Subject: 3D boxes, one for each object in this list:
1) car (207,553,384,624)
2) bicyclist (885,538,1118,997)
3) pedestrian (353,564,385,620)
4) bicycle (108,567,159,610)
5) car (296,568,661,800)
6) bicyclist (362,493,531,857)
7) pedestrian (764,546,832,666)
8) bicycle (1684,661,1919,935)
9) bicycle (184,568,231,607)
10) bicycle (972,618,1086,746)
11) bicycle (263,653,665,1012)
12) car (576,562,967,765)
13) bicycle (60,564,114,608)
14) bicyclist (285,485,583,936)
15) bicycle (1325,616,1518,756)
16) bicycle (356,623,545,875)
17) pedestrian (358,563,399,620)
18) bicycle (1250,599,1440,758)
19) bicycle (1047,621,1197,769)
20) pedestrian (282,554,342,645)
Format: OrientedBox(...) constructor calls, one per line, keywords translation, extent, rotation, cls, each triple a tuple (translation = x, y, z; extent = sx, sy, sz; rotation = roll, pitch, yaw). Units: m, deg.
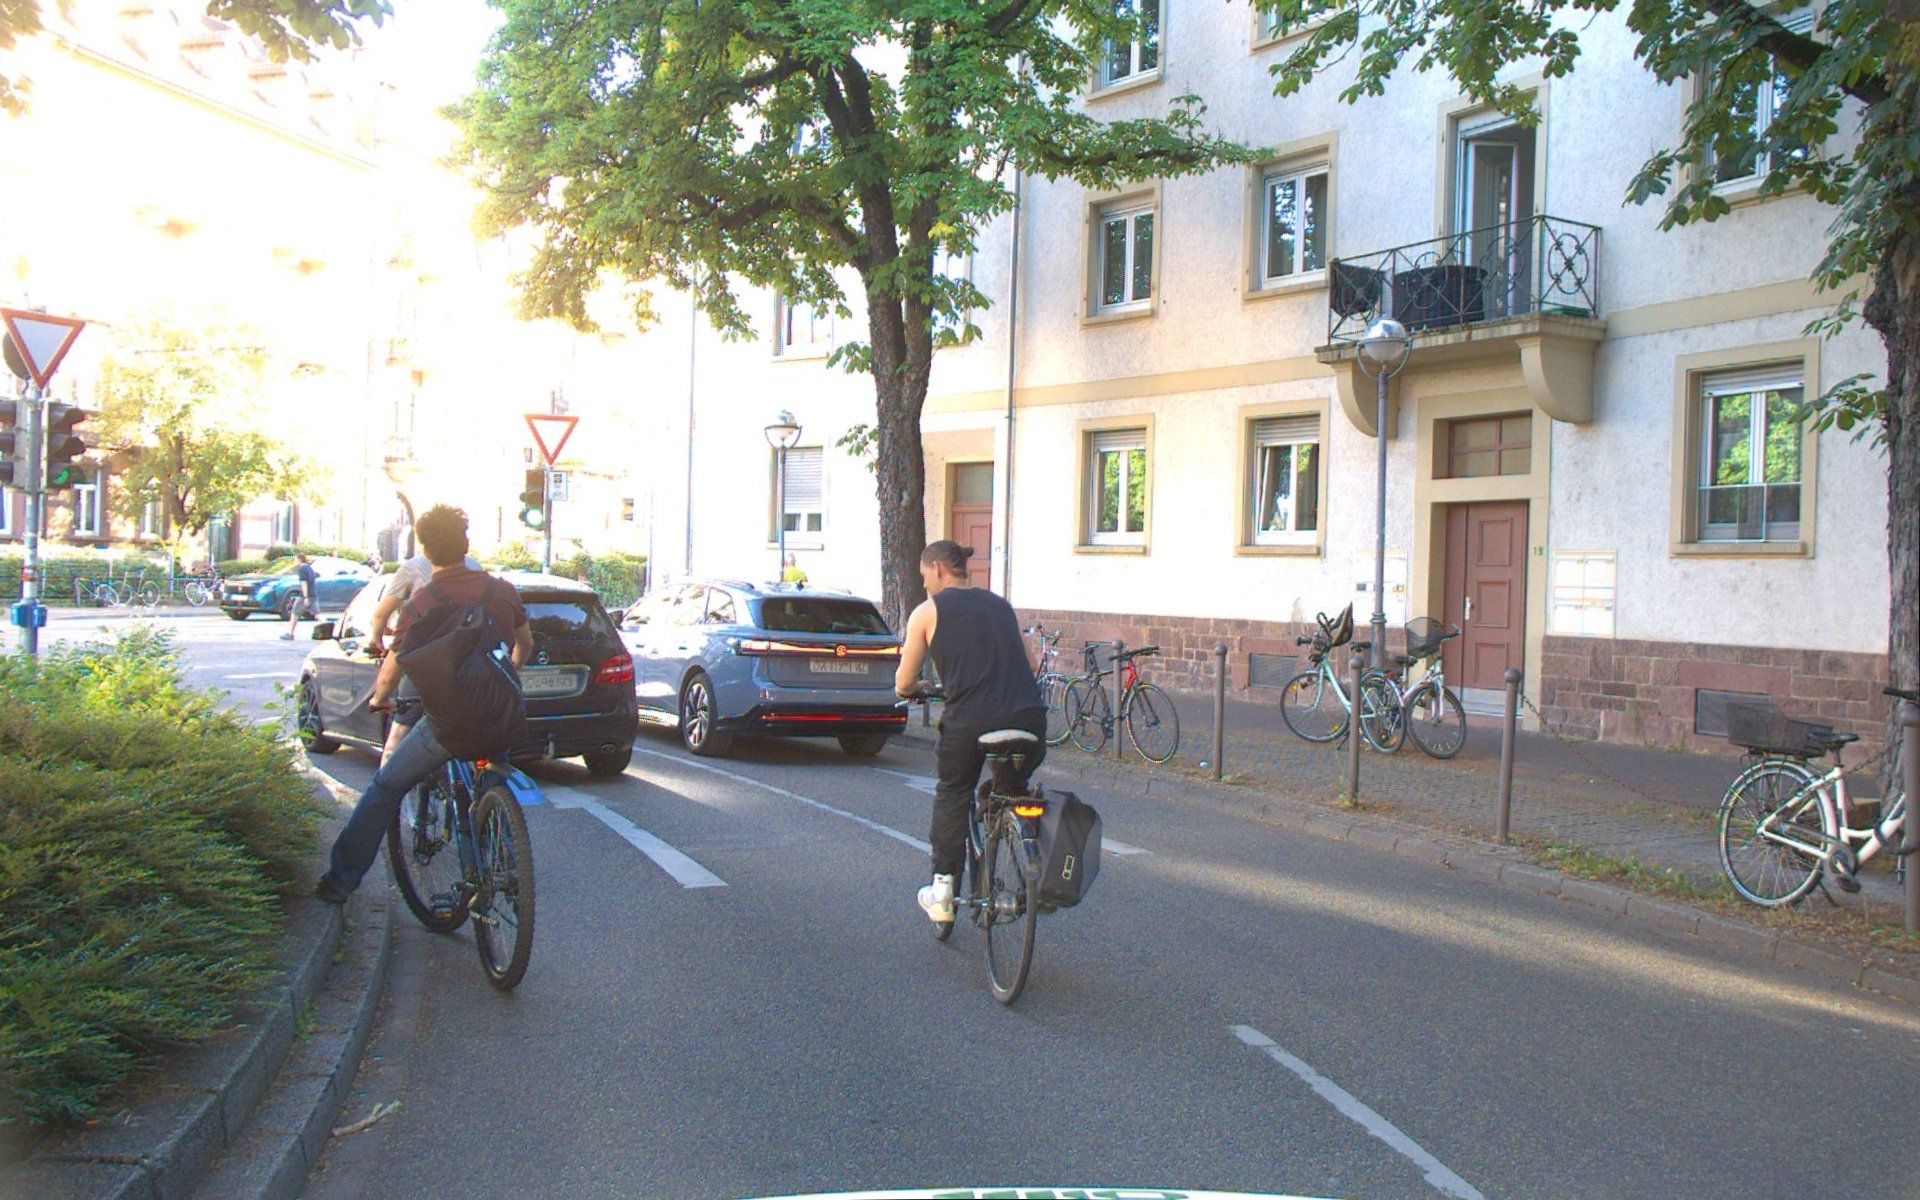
OrientedBox(translation=(-17.109, -0.294, 42.834), extent=(1.901, 1.678, 4.413), rotation=(2, 0, 17), cls="car")
OrientedBox(translation=(0.140, 0.609, 6.640), extent=(0.675, 1.685, 0.985), rotation=(0, 1, -15), cls="bicyclist")
OrientedBox(translation=(-18.575, -0.254, 51.944), extent=(0.649, 1.745, 0.635), rotation=(2, 0, 29), cls="pedestrian")
OrientedBox(translation=(-22.351, -0.318, 44.730), extent=(0.433, 1.126, 1.233), rotation=(3, 1, 22), cls="bicycle")
OrientedBox(translation=(-3.993, 0.529, 13.319), extent=(1.774, 1.569, 3.814), rotation=(-1, 1, -34), cls="car")
OrientedBox(translation=(-2.946, 0.402, 9.447), extent=(0.783, 1.946, 0.938), rotation=(2, 0, -23), cls="bicyclist")
OrientedBox(translation=(-2.441, 0.072, 24.870), extent=(0.639, 1.757, 0.876), rotation=(-2, 2, -39), cls="pedestrian")
OrientedBox(translation=(4.289, 0.896, 7.666), extent=(0.505, 1.114, 1.962), rotation=(0, 1, -20), cls="bicycle")
OrientedBox(translation=(-21.448, -0.353, 47.176), extent=(0.433, 1.056, 1.233), rotation=(3, 1, 21), cls="bicycle")
OrientedBox(translation=(0.647, 0.762, 15.994), extent=(0.474, 1.082, 1.625), rotation=(-1, 2, -22), cls="bicycle")
OrientedBox(translation=(-2.039, 0.827, 6.620), extent=(0.714, 1.126, 1.935), rotation=(2, 0, -44), cls="bicycle")
OrientedBox(translation=(-1.957, 0.521, 15.799), extent=(1.951, 1.613, 4.427), rotation=(4, -1, -32), cls="car")
OrientedBox(translation=(-22.906, -0.359, 43.417), extent=(0.433, 1.126, 1.233), rotation=(3, 1, 22), cls="bicycle")
OrientedBox(translation=(-2.057, 0.384, 6.451), extent=(0.940, 1.601, 0.704), rotation=(2, 0, 43), cls="bicyclist")
OrientedBox(translation=(4.126, 0.743, 14.948), extent=(0.657, 1.126, 1.956), rotation=(2, 0, -19), cls="bicycle")
OrientedBox(translation=(-3.000, 0.781, 9.578), extent=(0.799, 1.205, 2.211), rotation=(2, 0, -23), cls="bicycle")
OrientedBox(translation=(-18.050, -0.257, 51.328), extent=(0.698, 1.693, 0.895), rotation=(5, 2, 33), cls="pedestrian")
OrientedBox(translation=(3.429, 0.657, 14.921), extent=(0.707, 1.299, 1.955), rotation=(0, 1, -21), cls="bicycle")
OrientedBox(translation=(1.384, 0.787, 14.413), extent=(0.519, 1.126, 1.728), rotation=(-1, 2, -24), cls="bicycle")
OrientedBox(translation=(-12.340, -0.011, 31.519), extent=(0.887, 1.663, 0.723), rotation=(4, 1, -15), cls="pedestrian")
